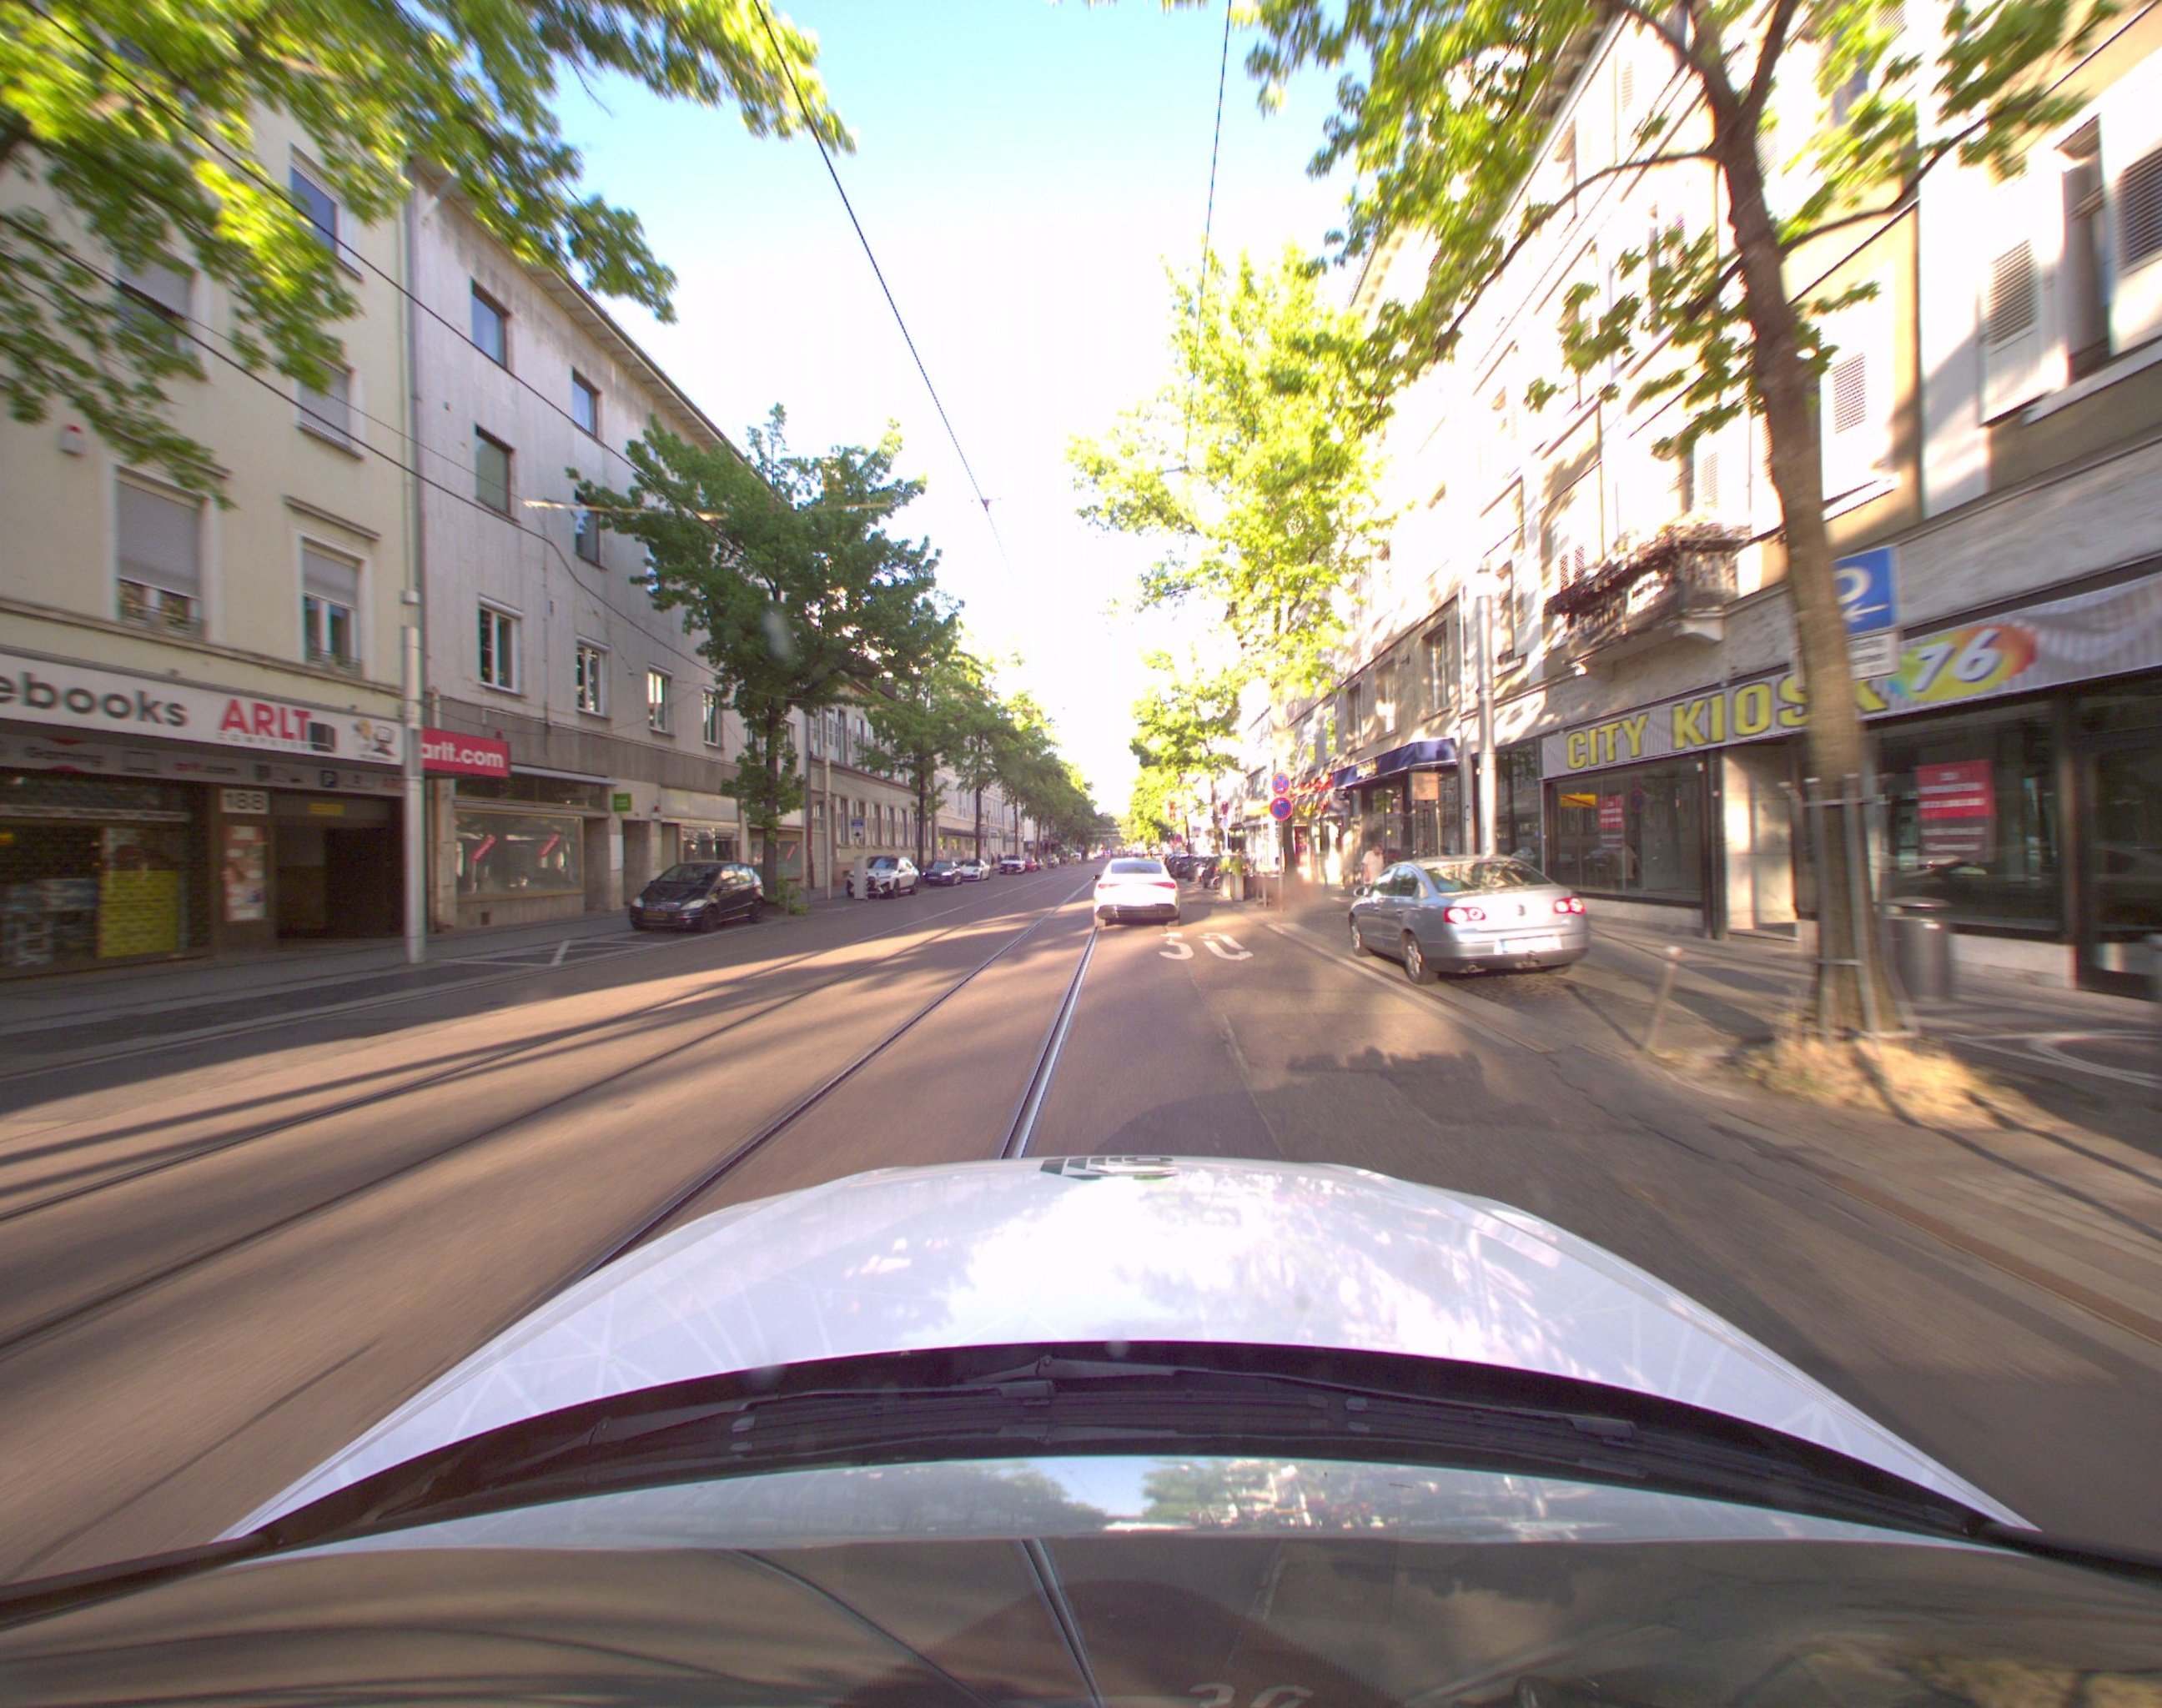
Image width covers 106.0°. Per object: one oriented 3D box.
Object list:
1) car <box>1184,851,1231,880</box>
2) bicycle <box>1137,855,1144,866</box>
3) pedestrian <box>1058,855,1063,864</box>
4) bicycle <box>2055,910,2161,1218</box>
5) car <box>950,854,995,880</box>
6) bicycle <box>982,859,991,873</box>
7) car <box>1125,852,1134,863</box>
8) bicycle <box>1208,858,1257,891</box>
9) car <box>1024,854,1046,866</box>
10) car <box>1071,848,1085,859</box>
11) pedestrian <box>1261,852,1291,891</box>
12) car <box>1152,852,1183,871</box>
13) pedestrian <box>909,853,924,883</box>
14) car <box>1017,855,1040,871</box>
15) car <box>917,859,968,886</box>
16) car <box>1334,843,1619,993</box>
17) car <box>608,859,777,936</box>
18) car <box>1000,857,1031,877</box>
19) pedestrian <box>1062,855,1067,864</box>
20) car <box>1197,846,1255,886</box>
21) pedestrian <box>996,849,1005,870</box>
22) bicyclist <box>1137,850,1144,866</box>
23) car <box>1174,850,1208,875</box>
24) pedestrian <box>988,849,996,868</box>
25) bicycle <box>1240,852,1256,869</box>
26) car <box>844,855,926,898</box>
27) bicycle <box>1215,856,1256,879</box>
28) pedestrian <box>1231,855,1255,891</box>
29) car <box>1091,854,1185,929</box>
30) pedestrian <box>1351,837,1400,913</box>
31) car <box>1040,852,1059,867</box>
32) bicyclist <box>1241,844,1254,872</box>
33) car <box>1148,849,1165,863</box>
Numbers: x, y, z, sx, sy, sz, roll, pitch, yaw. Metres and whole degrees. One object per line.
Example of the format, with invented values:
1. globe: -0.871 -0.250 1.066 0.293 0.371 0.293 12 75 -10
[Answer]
1. car: 6.859 0.630 44.632 1.810 1.486 3.997 -1 0 -2
2. bicycle: 6.642 0.690 91.130 0.737 1.188 2.162 -2 -1 4
3. pedestrian: -3.423 0.881 133.459 0.564 1.464 0.654 -2 0 22
4. bicycle: 5.083 0.774 3.109 1.857 1.154 0.563 -4 -1 4
5. car: -7.107 0.817 53.757 1.937 1.640 4.915 -1 0 5
6. bicycle: -7.649 0.961 66.226 0.592 1.050 2.006 -2 0 -4
7. car: 12.385 0.880 207.008 1.988 2.541 3.997 -1 -1 -2
8. bicycle: 5.859 0.791 31.413 1.711 1.138 0.550 -4 -1 23
9. car: -5.127 0.656 90.989 1.985 1.292 4.003 -1 0 3
10. car: -0.621 -0.103 166.324 1.980 2.013 4.013 -2 0 11
11. pedestrian: 7.051 0.633 29.517 0.712 1.387 0.739 -1 0 -35
12. car: 6.877 0.567 65.358 1.833 1.436 3.995 -2 0 -3
13. pedestrian: -9.612 0.794 47.661 0.683 1.721 0.657 -1 0 3
14. car: -5.260 0.863 82.008 1.681 1.499 4.239 -1 0 4
15. car: -7.698 0.982 45.814 1.955 1.412 4.846 -1 0 0
16. car: 4.840 0.692 10.776 1.768 1.440 4.427 -4 -1 4
17. car: -9.300 0.971 19.917 1.953 1.640 4.005 1 0 4
18. car: -5.738 1.087 71.980 1.953 1.692 5.019 -1 0 4
19. pedestrian: -2.710 0.855 134.910 0.519 1.478 0.645 -4 -1 -24
20. car: 6.252 0.521 35.420 1.794 1.458 3.655 -6 0 1
21. pedestrian: -7.779 0.541 78.690 0.706 2.004 0.675 -2 0 -3
22. bicyclist: 6.637 0.464 91.146 0.721 1.702 0.812 -2 -1 4
23. car: 7.036 0.528 52.439 1.862 1.453 4.112 -4 0 5
24. pedestrian: -8.618 0.446 78.670 0.705 1.806 0.675 -2 0 -2
25. bicycle: 10.481 0.399 51.149 0.645 1.074 1.862 -2 0 1
26. car: -8.180 0.896 34.491 1.953 1.640 4.817 1 0 4
27. bicycle: 7.571 0.664 39.973 1.853 1.074 0.710 -2 0 -7
28. pedestrian: 5.881 0.686 29.634 0.812 1.265 0.588 -2 0 8
29. car: 1.169 0.768 18.434 1.862 1.469 4.042 -1 0 0
30. pedestrian: 6.595 0.464 18.274 0.799 1.643 0.756 -3 0 3
31. car: -4.009 0.654 103.890 1.542 1.796 3.177 -2 0 11
32. bicyclist: 10.465 0.243 51.242 0.636 1.684 0.600 -2 0 1
33. car: 9.900 0.266 106.956 1.985 1.728 4.244 -2 0 3
